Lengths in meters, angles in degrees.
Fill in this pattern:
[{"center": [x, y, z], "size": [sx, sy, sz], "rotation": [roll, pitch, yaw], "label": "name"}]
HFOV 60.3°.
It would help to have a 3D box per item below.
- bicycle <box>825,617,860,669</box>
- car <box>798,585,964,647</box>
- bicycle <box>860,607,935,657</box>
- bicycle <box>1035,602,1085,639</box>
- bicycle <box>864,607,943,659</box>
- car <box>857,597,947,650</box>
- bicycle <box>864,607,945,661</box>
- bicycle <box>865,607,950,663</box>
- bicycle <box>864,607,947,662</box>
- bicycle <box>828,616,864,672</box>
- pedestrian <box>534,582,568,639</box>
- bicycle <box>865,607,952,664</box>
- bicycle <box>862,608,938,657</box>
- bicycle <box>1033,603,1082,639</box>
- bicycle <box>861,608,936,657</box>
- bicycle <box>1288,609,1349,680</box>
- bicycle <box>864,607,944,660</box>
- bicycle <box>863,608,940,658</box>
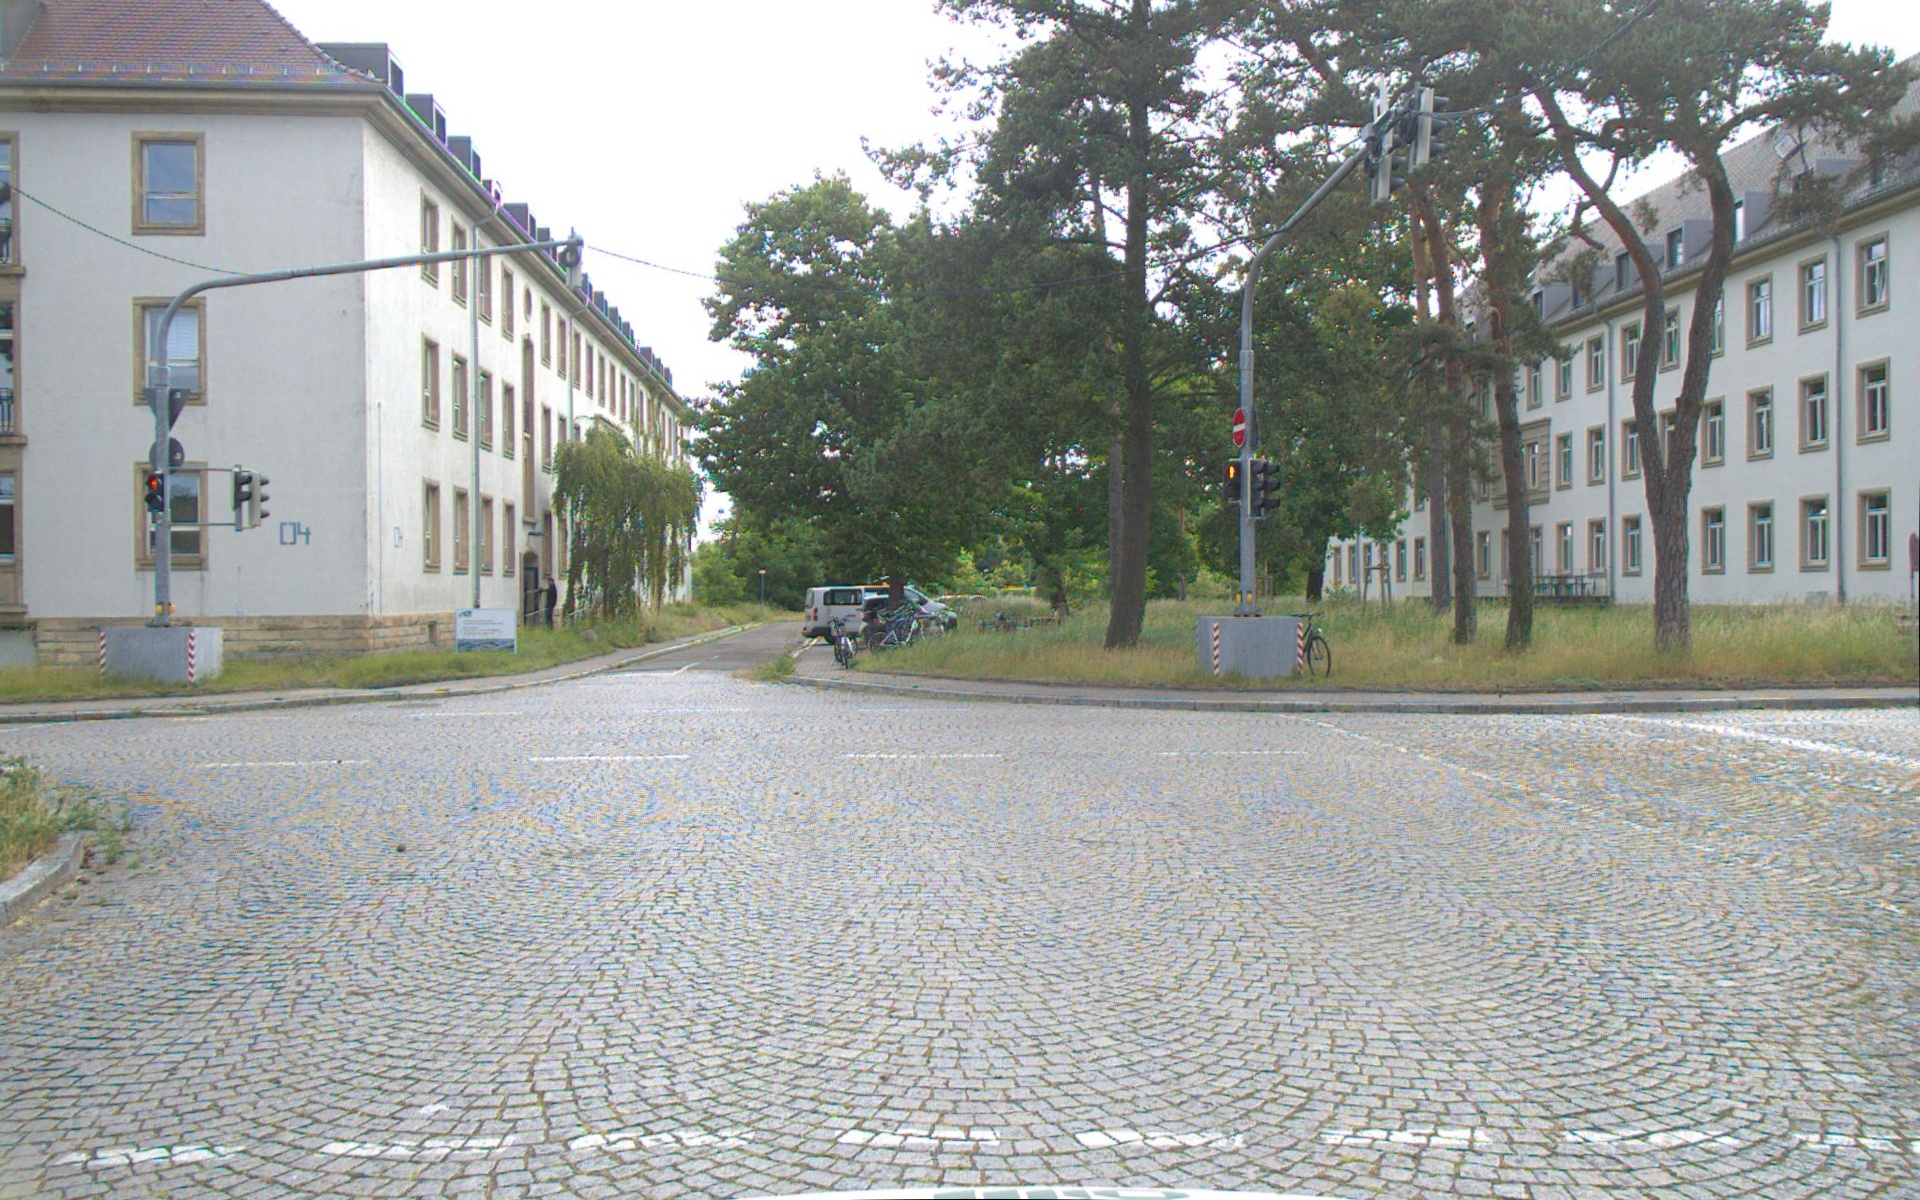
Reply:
[{"center": [-2.573, 0.932, 36.428], "size": [0.609, 1.101, 1.678], "rotation": [1, -1, 1], "label": "bicycle"}, {"center": [-2.682, 0.526, 55.971], "size": [5.222, 1.949, 2.139], "rotation": [-1, 0, -18], "label": "car"}, {"center": [-1.666, 0.850, 44.234], "size": [1.944, 1.269, 0.623], "rotation": [-2, 0, -5], "label": "bicycle"}, {"center": [3.137, 0.654, 51.787], "size": [1.518, 1.144, 0.401], "rotation": [0, 0, -2], "label": "bicycle"}, {"center": [-1.424, 0.833, 41.501], "size": [1.944, 1.269, 0.623], "rotation": [1, -1, -5], "label": "bicycle"}, {"center": [-1.856, 0.744, 52.540], "size": [2.791, 1.585, 1.471], "rotation": [-1, 1, -4], "label": "car"}, {"center": [-1.366, 0.825, 40.344], "size": [1.944, 1.269, 0.623], "rotation": [1, -1, -5], "label": "bicycle"}, {"center": [-1.230, 0.813, 38.565], "size": [1.944, 1.269, 0.623], "rotation": [1, -1, -5], "label": "bicycle"}, {"center": [-1.307, 0.819, 39.488], "size": [1.944, 1.269, 0.623], "rotation": [1, -1, -5], "label": "bicycle"}, {"center": [-2.375, 0.904, 34.483], "size": [0.609, 1.133, 1.988], "rotation": [1, 0, 0], "label": "bicycle"}, {"center": [-13.128, 0.321, 53.134], "size": [0.820, 1.812, 0.941], "rotation": [0, 0, 2], "label": "pedestrian"}, {"center": [-1.187, 0.809, 37.938], "size": [1.944, 1.269, 0.623], "rotation": [1, -1, -5], "label": "bicycle"}, {"center": [-1.570, 0.843, 43.085], "size": [1.944, 1.269, 0.623], "rotation": [1, -1, -5], "label": "bicycle"}, {"center": [3.129, 0.660, 53.019], "size": [1.518, 1.144, 0.401], "rotation": [0, 0, -2], "label": "bicycle"}, {"center": [-1.620, 0.846, 43.576], "size": [1.944, 1.269, 0.623], "rotation": [1, -1, -5], "label": "bicycle"}, {"center": [5.605, 0.682, 25.923], "size": [0.568, 0.987, 1.678], "rotation": [-2, 2, 1], "label": "bicycle"}, {"center": [-1.403, 0.829, 40.976], "size": [1.944, 1.269, 0.623], "rotation": [1, -1, -5], "label": "bicycle"}, {"center": [-1.513, 0.840, 42.575], "size": [1.944, 1.269, 0.623], "rotation": [1, -1, -5], "label": "bicycle"}]
